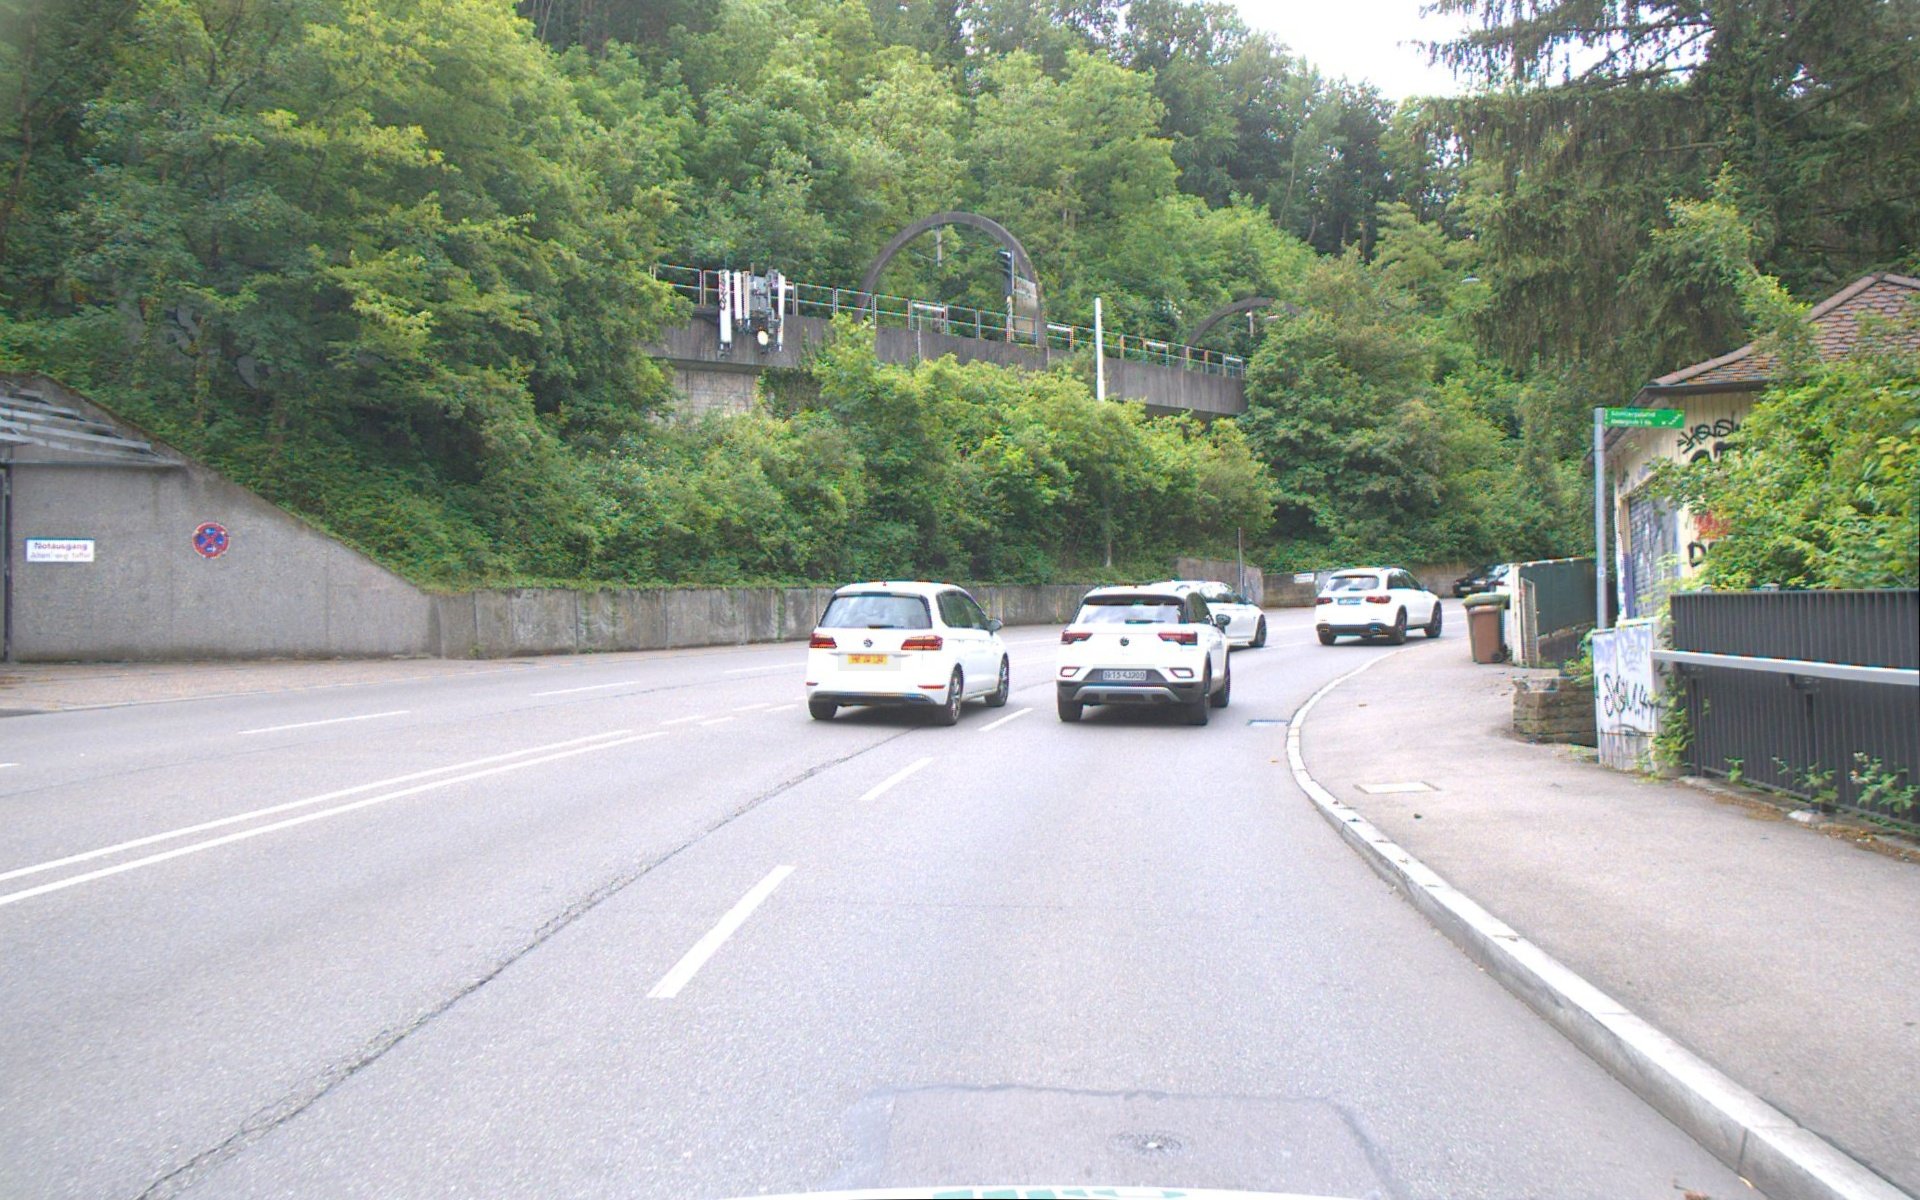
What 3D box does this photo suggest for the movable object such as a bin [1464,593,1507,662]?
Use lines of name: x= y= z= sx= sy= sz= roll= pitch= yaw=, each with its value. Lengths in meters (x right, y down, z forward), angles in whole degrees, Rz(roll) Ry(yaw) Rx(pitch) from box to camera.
movable object such as a bin: x=8.803 y=0.460 z=27.707 sx=0.591 sy=1.078 sz=0.480 roll=-5 pitch=1 yaw=17

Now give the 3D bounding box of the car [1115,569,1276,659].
car: x=5.038 y=0.227 z=34.849 sx=1.955 sy=1.584 sz=4.677 roll=3 pitch=3 yaw=26

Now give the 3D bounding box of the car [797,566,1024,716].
car: x=-0.468 y=0.522 z=20.116 sx=1.683 sy=1.582 sz=4.278 roll=2 pitch=-2 yaw=13

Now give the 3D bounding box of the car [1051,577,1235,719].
car: x=2.345 y=0.586 z=20.323 sx=1.775 sy=1.566 sz=4.011 roll=0 pitch=-2 yaw=13

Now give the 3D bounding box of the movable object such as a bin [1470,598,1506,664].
movable object such as a bin: x=8.664 y=0.502 z=27.155 sx=0.489 sy=1.026 sz=0.440 roll=-5 pitch=1 yaw=17

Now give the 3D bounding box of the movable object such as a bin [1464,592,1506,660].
movable object such as a bin: x=8.970 y=0.439 z=28.259 sx=0.591 sy=1.078 sz=0.480 roll=-5 pitch=1 yaw=17

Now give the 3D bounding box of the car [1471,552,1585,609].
car: x=19.135 y=-0.613 z=55.676 sx=4.269 sy=1.546 sz=1.721 roll=5 pitch=-4 yaw=-41

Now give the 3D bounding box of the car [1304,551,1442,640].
car: x=9.370 y=-0.103 z=37.293 sx=1.956 sy=1.875 sz=4.142 roll=1 pitch=0 yaw=30

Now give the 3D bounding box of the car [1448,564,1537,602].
car: x=22.519 y=-0.736 z=69.924 sx=3.967 sy=1.512 sz=1.885 roll=-2 pitch=1 yaw=-43
